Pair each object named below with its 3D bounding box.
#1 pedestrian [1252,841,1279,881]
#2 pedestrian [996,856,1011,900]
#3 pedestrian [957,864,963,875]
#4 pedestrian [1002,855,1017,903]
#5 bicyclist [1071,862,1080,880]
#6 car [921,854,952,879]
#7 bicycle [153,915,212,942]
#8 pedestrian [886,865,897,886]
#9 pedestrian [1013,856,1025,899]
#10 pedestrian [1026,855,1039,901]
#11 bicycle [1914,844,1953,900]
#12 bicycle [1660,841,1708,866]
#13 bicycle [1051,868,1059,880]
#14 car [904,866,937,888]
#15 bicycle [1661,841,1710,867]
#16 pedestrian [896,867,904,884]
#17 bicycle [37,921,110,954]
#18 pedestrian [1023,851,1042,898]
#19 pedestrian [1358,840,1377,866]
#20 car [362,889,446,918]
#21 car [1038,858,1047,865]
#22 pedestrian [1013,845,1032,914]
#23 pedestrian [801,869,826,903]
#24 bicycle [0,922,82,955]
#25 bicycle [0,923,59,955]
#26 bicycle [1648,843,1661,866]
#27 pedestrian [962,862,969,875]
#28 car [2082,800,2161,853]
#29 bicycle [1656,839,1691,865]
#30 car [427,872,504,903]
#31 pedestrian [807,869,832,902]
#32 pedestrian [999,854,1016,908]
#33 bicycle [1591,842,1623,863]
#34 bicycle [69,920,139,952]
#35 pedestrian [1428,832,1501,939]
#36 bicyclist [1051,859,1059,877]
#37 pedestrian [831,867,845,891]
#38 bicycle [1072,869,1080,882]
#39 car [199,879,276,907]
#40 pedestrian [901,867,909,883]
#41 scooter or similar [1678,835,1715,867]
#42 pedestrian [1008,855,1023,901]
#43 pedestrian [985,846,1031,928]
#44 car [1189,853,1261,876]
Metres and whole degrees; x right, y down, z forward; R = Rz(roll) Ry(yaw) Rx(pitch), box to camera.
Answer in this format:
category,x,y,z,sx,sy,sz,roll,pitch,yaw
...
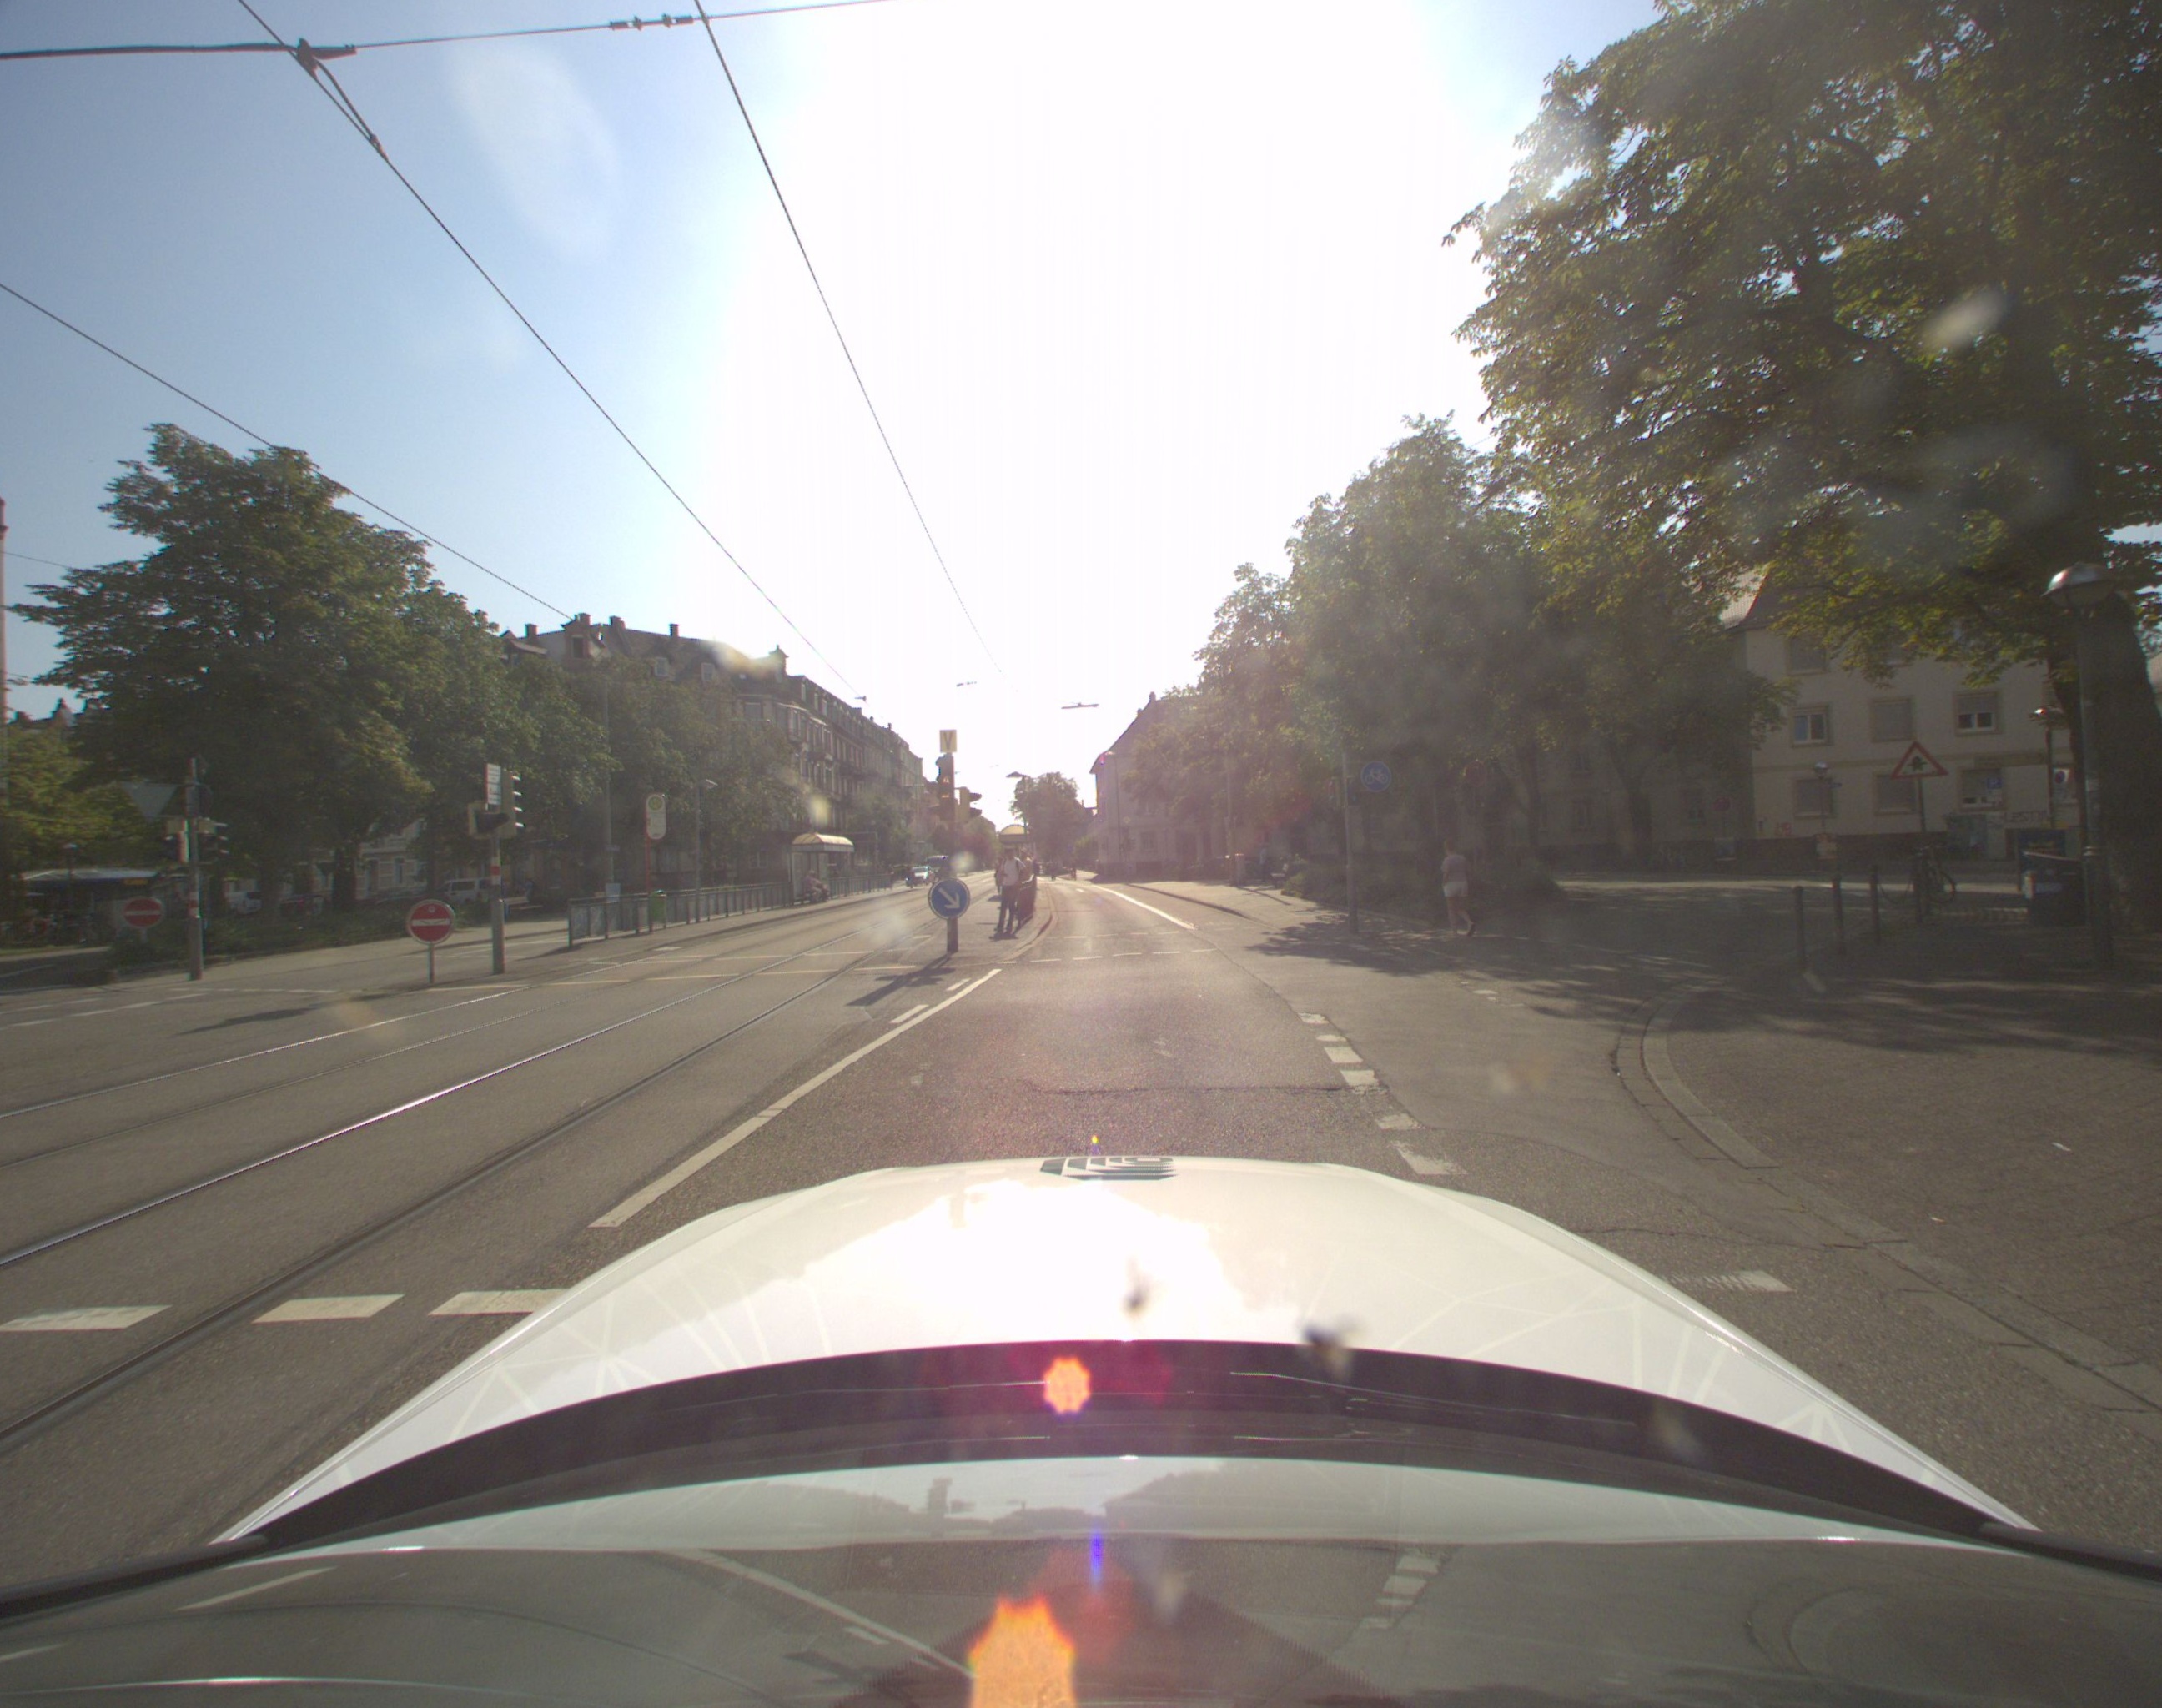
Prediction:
category,x,y,z,sx,sy,sz,roll,pitch,yaw
pedestrian,8.307,0.301,36.701,0.882,1.740,0.781,-3,-1,35
pedestrian,-3.132,0.958,32.868,0.531,1.759,0.544,0,2,-1
pedestrian,-18.158,2.322,122.496,0.750,1.731,0.768,-2,-1,-11
pedestrian,-2.699,0.932,30.660,0.541,1.759,0.533,0,2,-3
bicyclist,-0.433,1.355,65.436,0.557,1.417,0.870,-3,0,-4
car,-16.478,1.432,93.088,2.339,2.662,5.106,-3,0,1
bicycle,-36.150,2.992,32.780,1.756,0.978,0.606,-3,0,4
pedestrian,-15.569,1.753,66.939,0.750,1.731,0.768,-2,-1,-11
pedestrian,-2.544,0.953,33.475,0.503,1.759,0.533,0,2,-2
pedestrian,-1.880,0.916,31.505,0.503,1.759,0.533,0,2,-2
bicycle,16.318,0.328,15.580,1.780,0.978,0.420,-3,0,-42
bicycle,25.095,-0.025,33.918,1.540,0.978,0.427,-3,0,12
bicycle,-2.214,1.690,69.356,0.627,0.978,1.767,-3,0,-4
car,-13.082,1.826,66.469,1.795,1.653,3.643,-3,0,1
bicycle,24.943,-0.008,33.608,1.540,0.978,0.427,-3,0,12
pedestrian,-19.031,2.263,85.819,0.750,1.731,0.768,-2,-1,-11
bicycle,-35.708,2.946,28.897,0.423,0.978,1.768,-3,0,-3
pedestrian,-1.849,0.783,30.890,0.707,1.759,0.533,0,2,-3
pedestrian,20.178,-0.058,57.401,0.780,1.740,0.883,-2,-1,-40
car,-41.342,3.015,49.750,4.286,1.569,2.010,-3,-1,19
car,-11.766,2.289,249.195,1.984,1.783,4.005,-2,-1,4
pedestrian,-1.579,0.685,22.002,0.503,1.834,0.533,0,2,-2
pedestrian,-11.131,1.317,33.910,0.827,1.359,0.774,-2,-1,-7
bicycle,-36.945,2.976,28.897,1.773,0.978,0.600,-3,0,-26
bicycle,-36.779,2.969,28.128,1.773,0.978,0.516,-3,0,-25
bicycle,24.772,0.014,35.166,0.420,0.978,1.566,-3,0,35
pedestrian,-14.781,1.853,104.138,0.750,1.731,0.768,-2,-1,-11
car,33.946,-0.893,25.395,1.578,1.612,4.021,-3,-1,21
bicycle,25.691,-0.091,35.326,1.556,1.038,0.423,-3,0,-22
car,-39.885,2.167,52.793,3.954,1.828,2.010,-3,0,19
pedestrian,-11.193,1.329,34.884,0.827,1.359,0.774,-2,-1,-7
pedestrian,-2.407,0.878,26.665,0.503,1.759,0.533,0,2,-2
bicycle,25.808,-0.061,39.989,0.424,0.978,1.553,-3,0,-5
bicycle,-35.363,2.942,29.502,0.423,0.978,1.768,-3,0,-3
pedestrian,6.478,0.516,13.785,0.750,1.731,0.768,-2,-1,-11
bicyclist,-2.231,1.180,69.359,0.628,1.507,0.677,-3,0,-4
pedestrian,-18.101,1.870,60.728,0.747,1.731,0.771,-3,-1,0
bicycle,-0.408,1.737,65.419,0.557,0.978,1.853,-3,0,-4
car,-62.344,2.840,60.197,3.962,1.828,2.006,-3,0,10
pedestrian,-19.150,2.293,88.537,0.750,1.731,0.768,-2,-1,-11
scooter or similar,24.986,-0.106,33.084,1.059,1.197,0.462,-6,-1,29
pedestrian,-2.519,0.929,31.477,0.541,1.759,0.533,0,2,-3
pedestrian,-1.580,0.696,17.735,0.693,1.725,0.753,1,2,30
car,9.699,0.704,54.872,4.280,1.320,2.013,-3,-1,36
